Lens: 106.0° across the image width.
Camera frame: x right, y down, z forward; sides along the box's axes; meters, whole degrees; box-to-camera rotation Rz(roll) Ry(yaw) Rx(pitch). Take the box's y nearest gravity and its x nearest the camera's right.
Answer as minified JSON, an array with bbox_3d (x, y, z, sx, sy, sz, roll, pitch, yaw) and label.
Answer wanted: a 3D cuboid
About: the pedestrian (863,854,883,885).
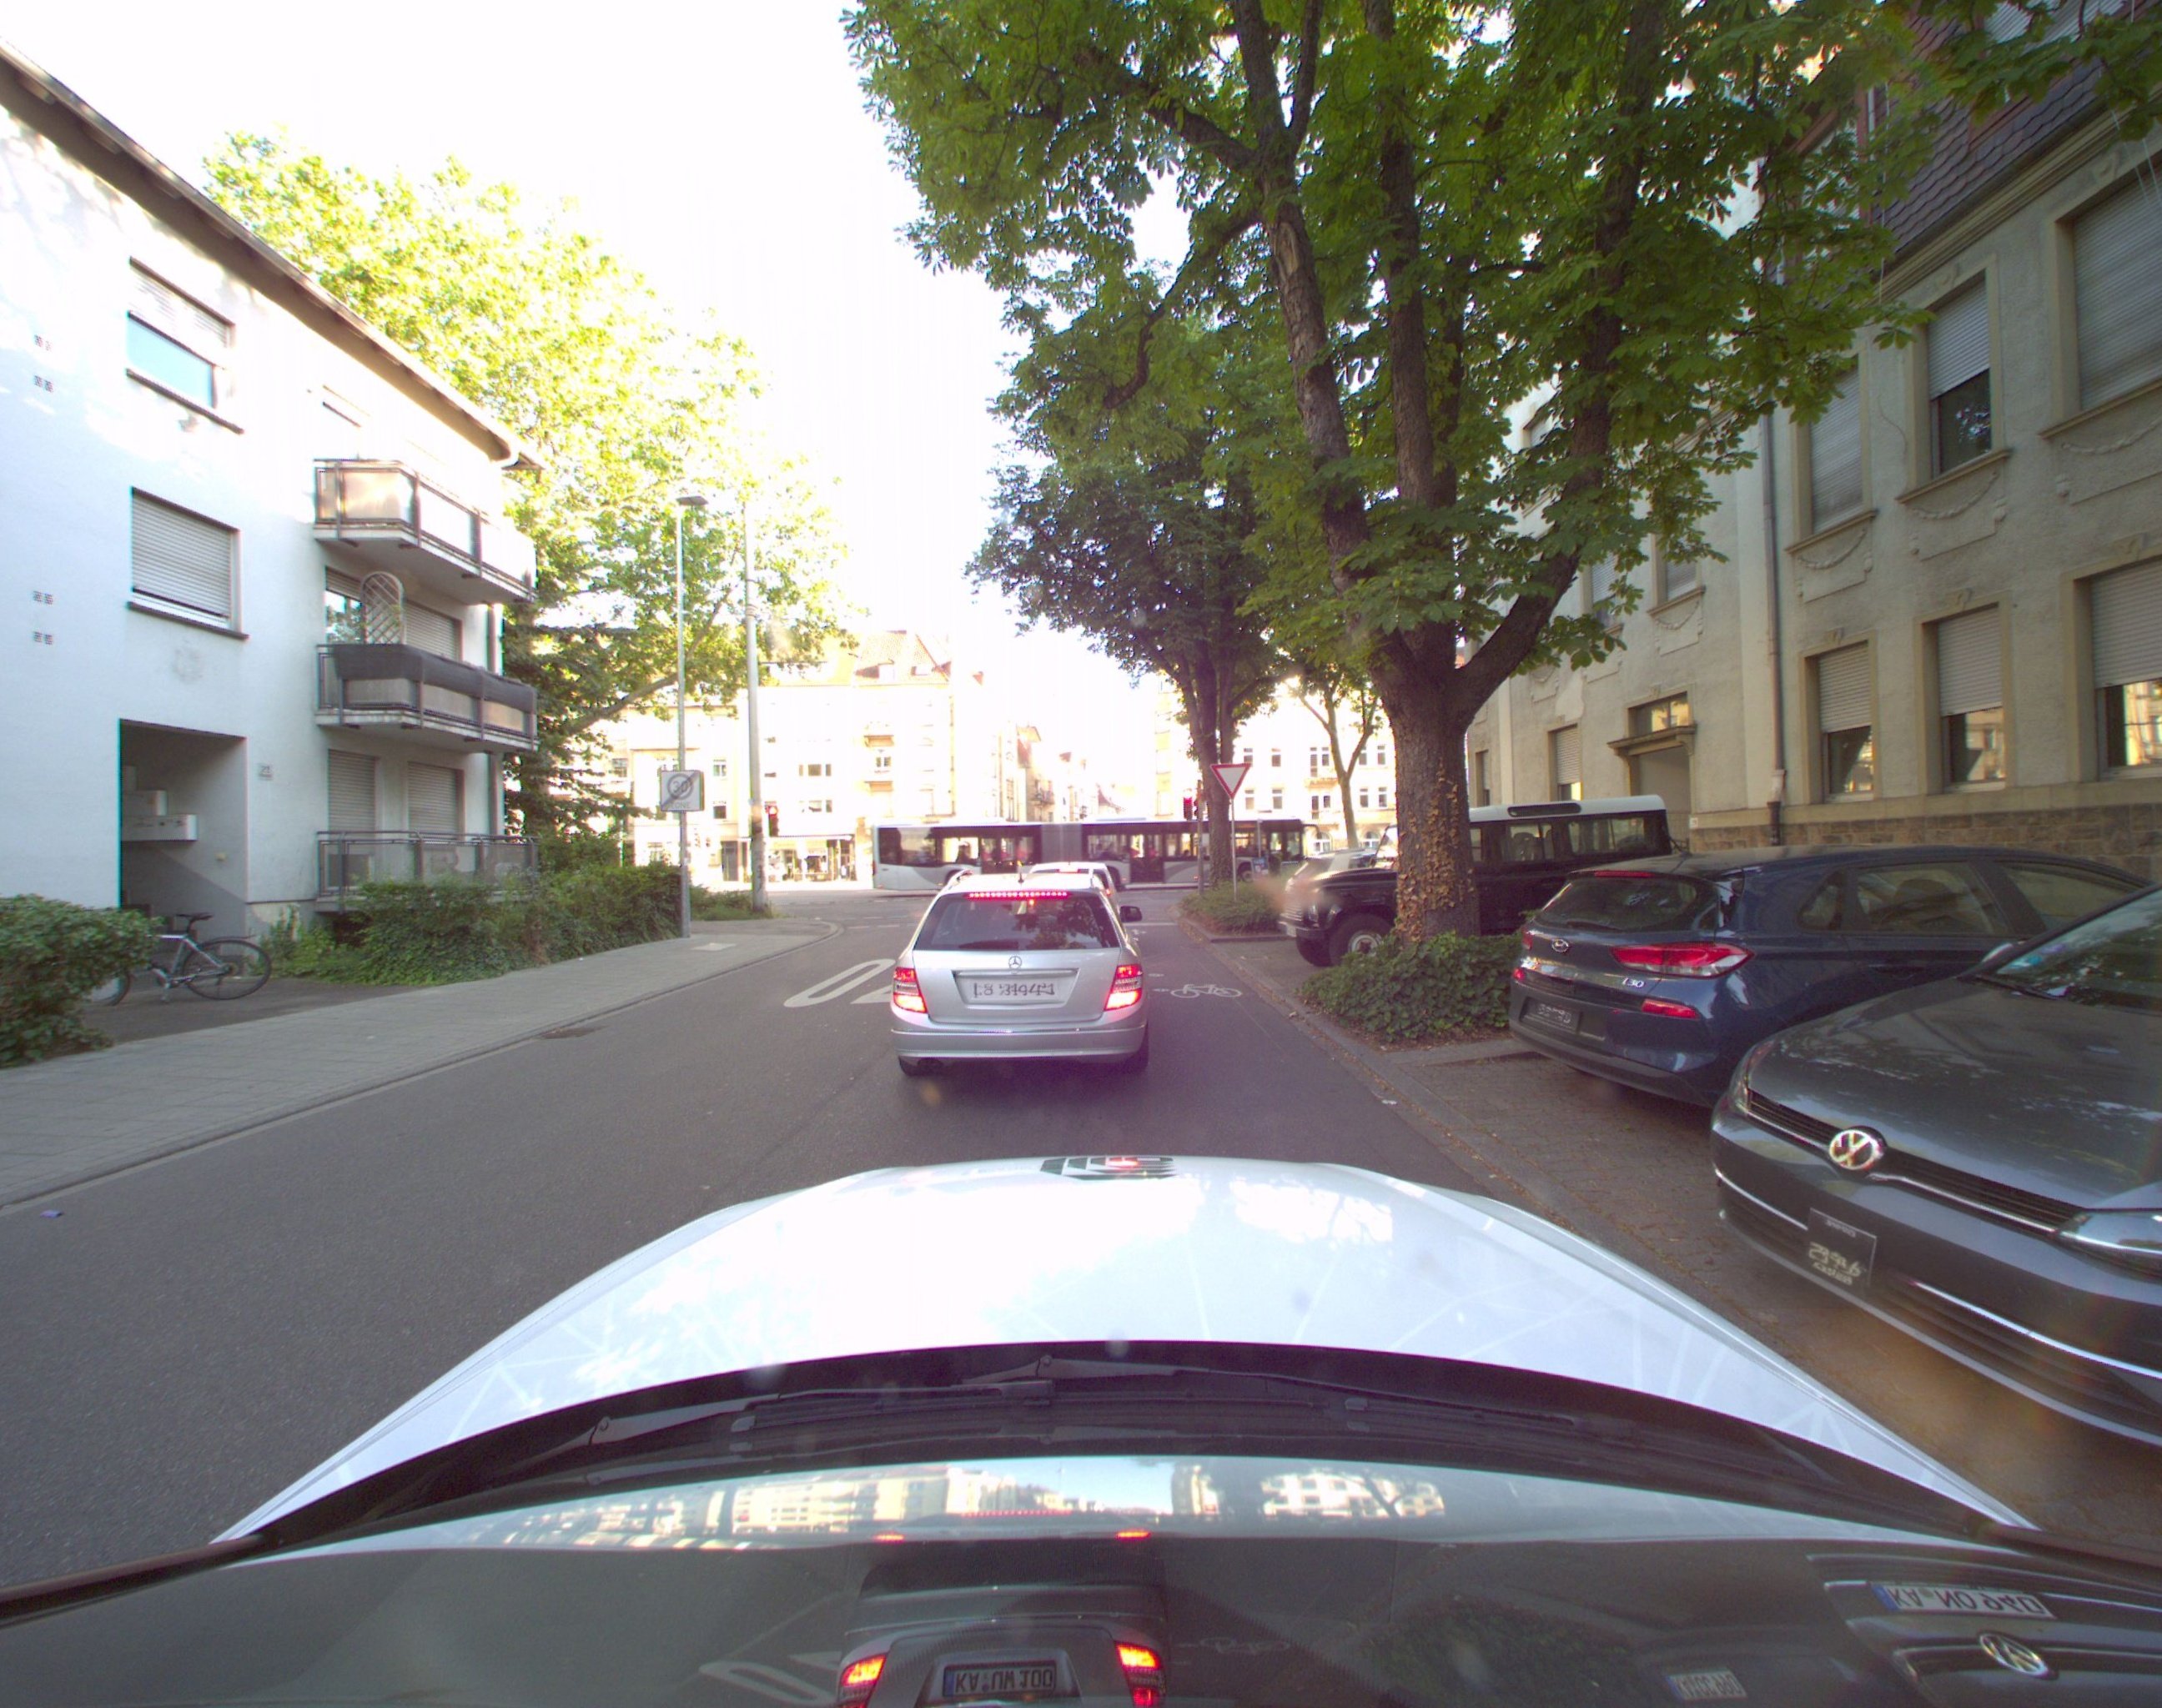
[{"bbox_3d":[-16.783,1.252,65.809,1.343,2.464,1.059,-1,0,-3],"label":"pedestrian"}]

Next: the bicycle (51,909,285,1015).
[{"bbox_3d":[-9.992,1.148,9.007,1.630,1.008,0.511,2,-1,-39],"label":"bicycle"}]

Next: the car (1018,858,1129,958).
[{"bbox_3d":[-0.106,0.797,14.169,1.614,1.447,4.344,-1,0,0],"label":"car"}]

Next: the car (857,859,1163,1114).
[{"bbox_3d":[-0.401,0.788,7.044,1.771,1.452,4.547,-1,0,0],"label":"car"}]

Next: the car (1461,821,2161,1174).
[{"bbox_3d":[4.398,0.619,4.553,3.714,1.452,1.707,-3,-1,-2],"label":"car"}]

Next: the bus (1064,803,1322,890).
[{"bbox_3d":[4.637,-0.330,34.641,10.440,3.201,2.905,-2,0,-7],"label":"bus"}]

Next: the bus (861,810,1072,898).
[{"bbox_3d":[-4.598,-0.029,33.568,8.166,3.201,2.905,-2,0,-7],"label":"bus"}]

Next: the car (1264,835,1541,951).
[{"bbox_3d":[5.032,0.594,13.087,3.714,1.570,1.707,-3,-1,-2],"label":"car"}]

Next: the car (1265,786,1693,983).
[{"bbox_3d":[4.742,0.347,10.127,4.453,2.036,1.700,-3,-1,-2],"label":"car"}]

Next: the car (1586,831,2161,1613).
[{"bbox_3d":[4.033,0.638,2.381,4.042,1.452,1.722,-3,-1,-2],"label":"car"}]
